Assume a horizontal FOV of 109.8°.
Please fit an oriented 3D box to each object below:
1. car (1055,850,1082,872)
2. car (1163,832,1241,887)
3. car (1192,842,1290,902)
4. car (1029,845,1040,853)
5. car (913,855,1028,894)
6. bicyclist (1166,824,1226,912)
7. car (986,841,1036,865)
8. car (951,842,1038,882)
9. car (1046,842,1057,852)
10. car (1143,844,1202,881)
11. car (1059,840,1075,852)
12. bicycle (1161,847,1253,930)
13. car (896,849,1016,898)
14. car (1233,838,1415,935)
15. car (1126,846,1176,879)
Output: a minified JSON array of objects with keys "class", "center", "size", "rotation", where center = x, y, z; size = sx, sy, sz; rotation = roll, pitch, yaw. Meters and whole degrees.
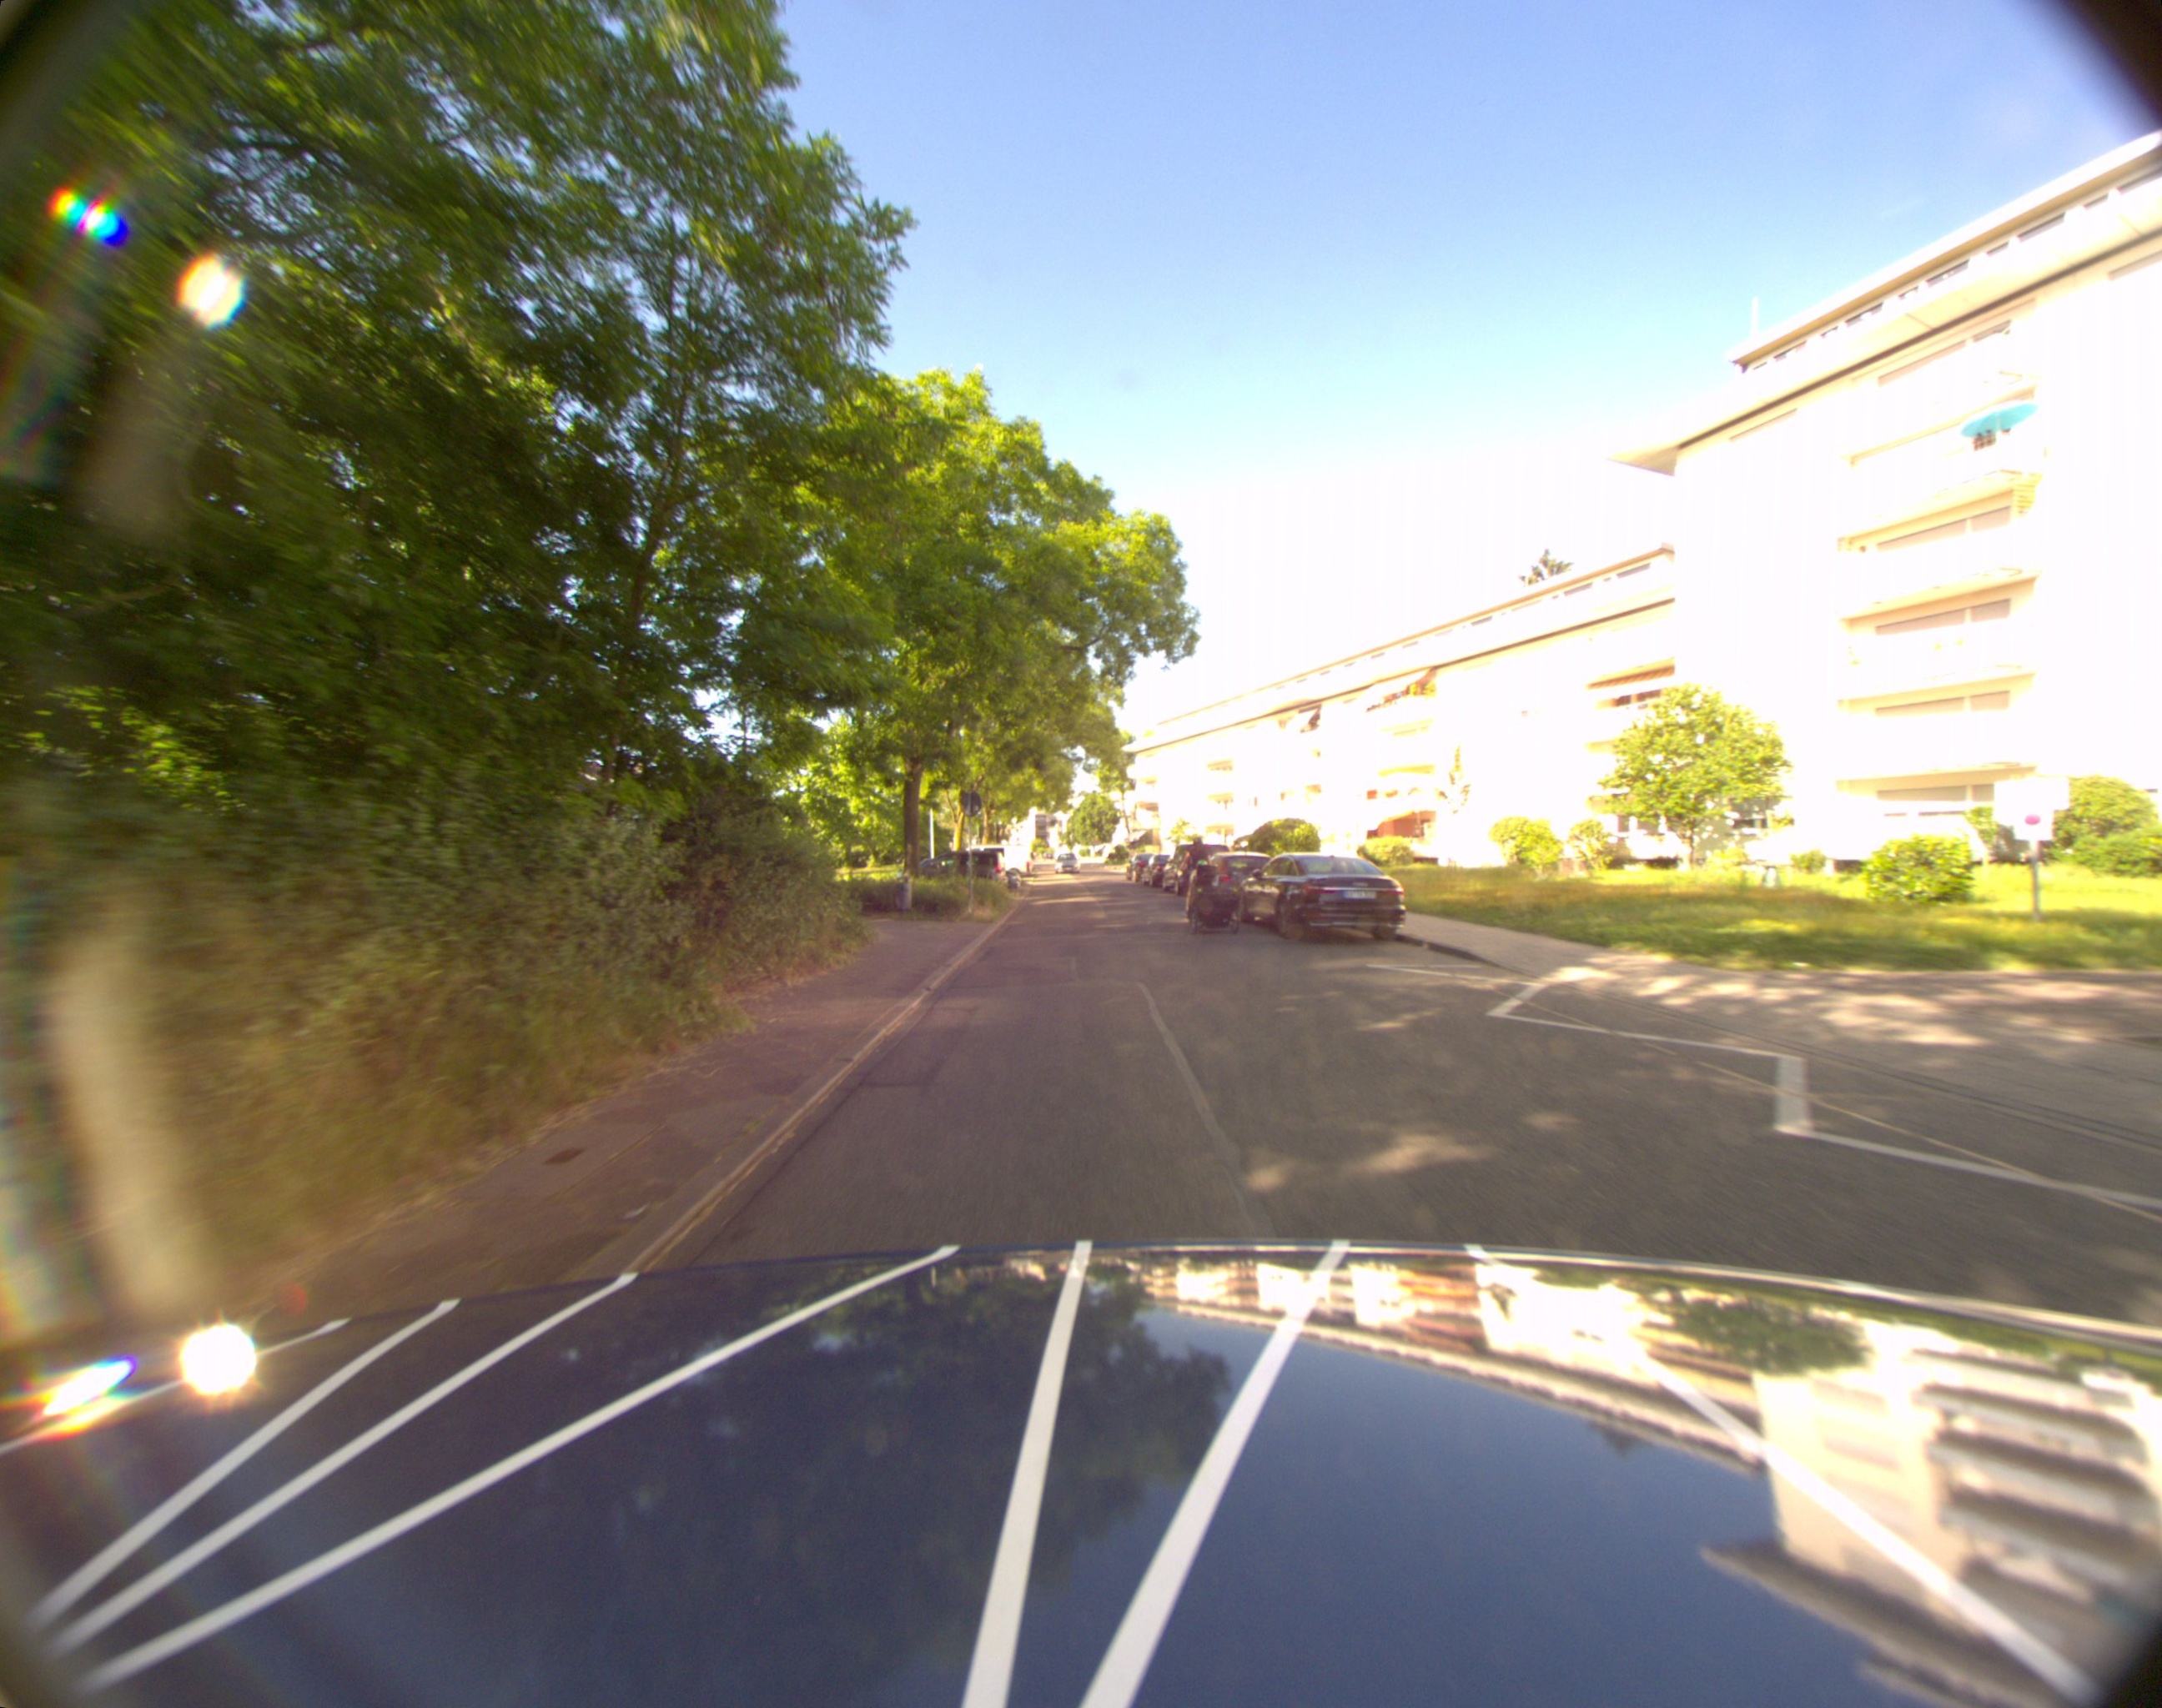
[{"class":"car","center":[-0.950,0.464,54.046],"size":[1.597,1.417,4.168],"rotation":[0,1,-5]},{"class":"car","center":[4.214,0.130,27.235],"size":[1.845,1.770,4.886],"rotation":[-1,1,-2]},{"class":"car","center":[4.209,0.418,20.581],"size":[1.844,1.446,4.018],"rotation":[-1,1,1]},{"class":"car","center":[-10.511,-1.184,171.864],"size":[1.795,1.535,4.047],"rotation":[-6,1,-12]},{"class":"car","center":[-4.447,0.810,31.226],"size":[4.463,1.406,1.774],"rotation":[-2,1,-2]},{"class":"bicyclist","center":[2.261,0.263,15.047],"size":[0.847,1.649,1.063],"rotation":[-3,2,-6]},{"class":"car","center":[-5.874,-0.101,63.856],"size":[4.053,1.754,1.744],"rotation":[-3,1,-4]},{"class":"car","center":[-4.628,0.397,41.277],"size":[4.463,2.005,2.020],"rotation":[-1,1,-1]},{"class":"car","center":[-5.554,-1.350,143.394],"size":[1.694,1.661,4.049],"rotation":[-4,1,-7]},{"class":"car","center":[3.865,0.307,32.854],"size":[1.845,1.473,4.573],"rotation":[0,1,-2]},{"class":"car","center":[-2.337,-1.322,124.744],"size":[2.008,1.837,4.613],"rotation":[-5,1,-6]},{"class":"bicycle","center":[2.330,0.576,14.601],"size":[0.853,1.363,3.218],"rotation":[-3,1,-6]},{"class":"car","center":[-4.630,0.705,28.611],"size":[4.159,1.685,1.774],"rotation":[-2,1,0]},{"class":"car","center":[4.218,0.492,14.054],"size":[1.732,1.455,4.681],"rotation":[-2,0,-1]},{"class":"car","center":[3.501,0.389,38.840],"size":[1.845,1.473,4.798],"rotation":[-2,1,-3]}]
